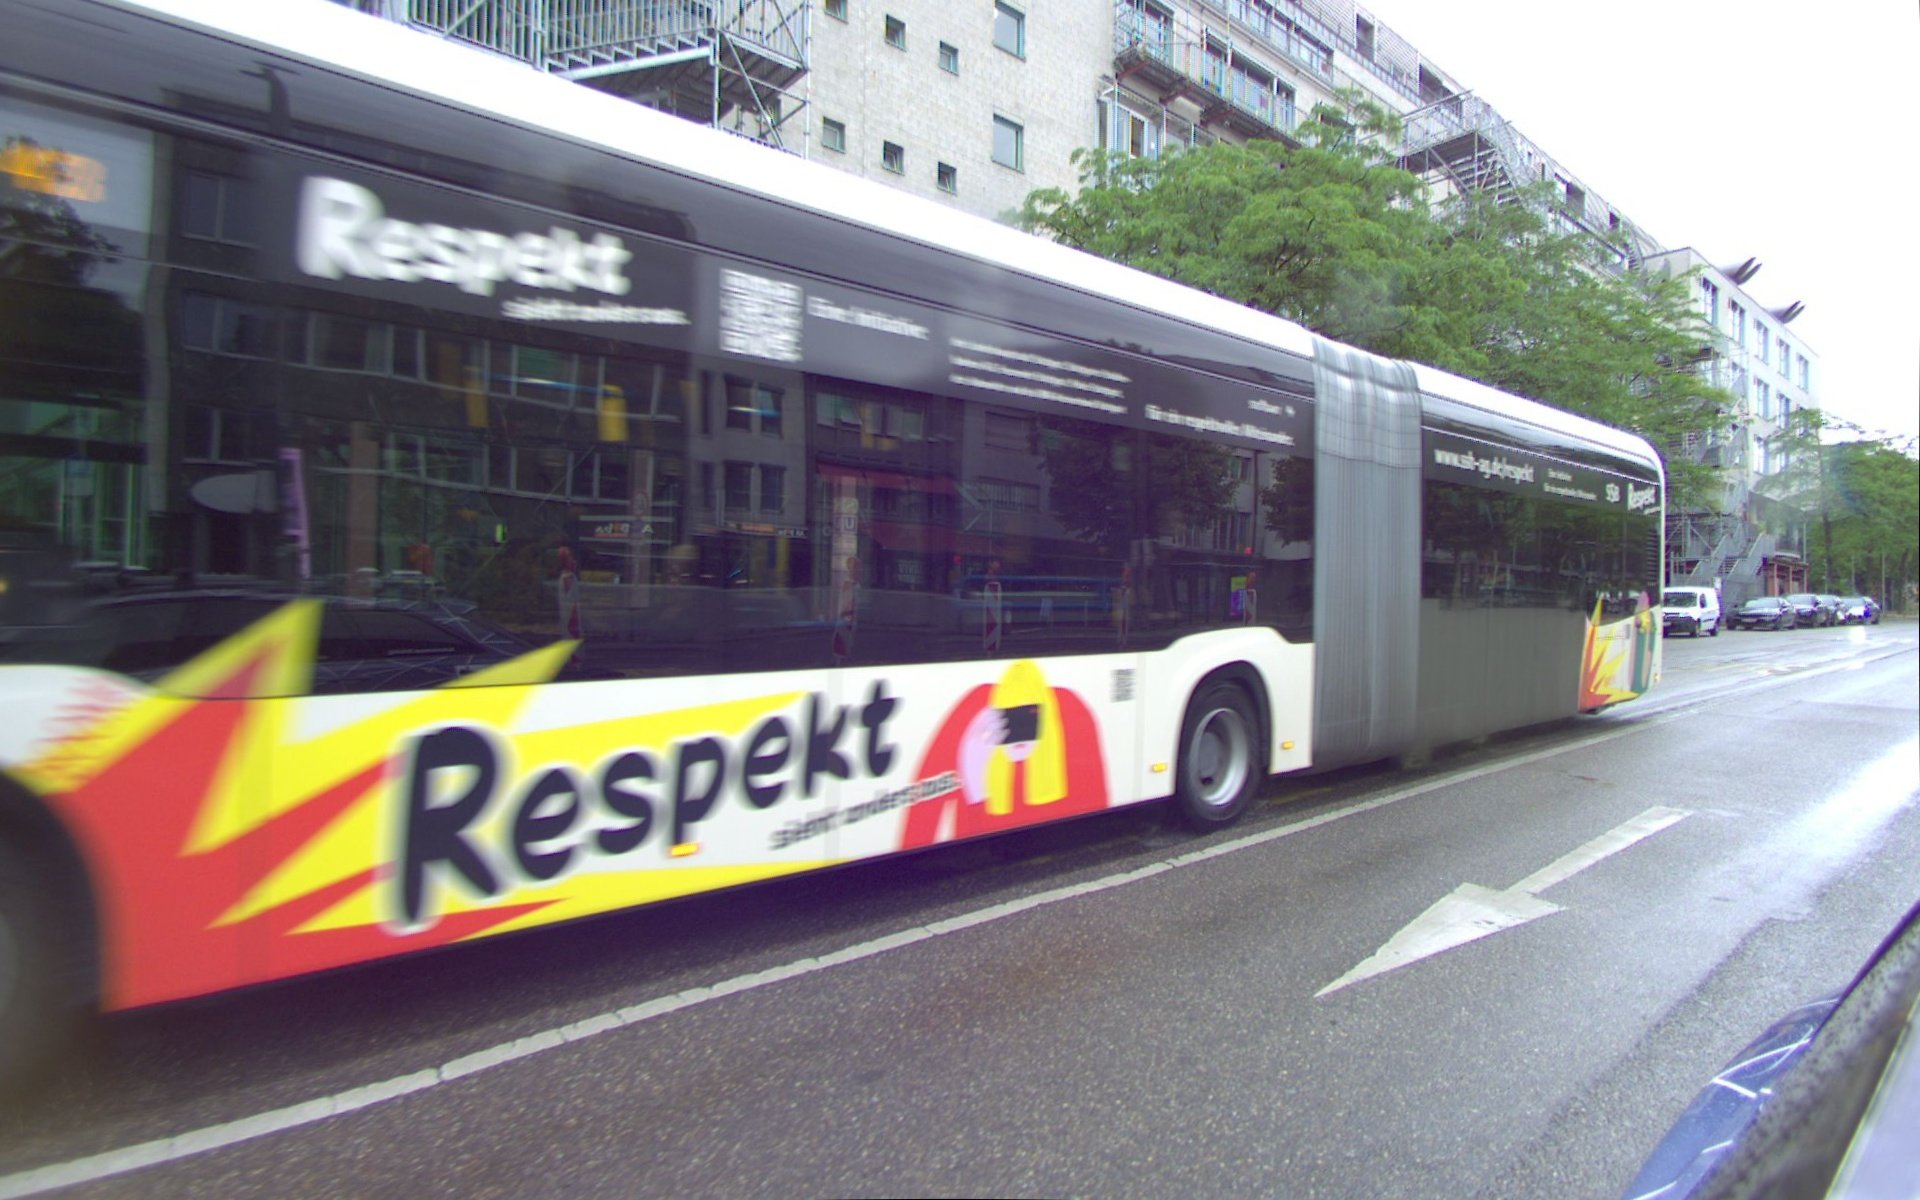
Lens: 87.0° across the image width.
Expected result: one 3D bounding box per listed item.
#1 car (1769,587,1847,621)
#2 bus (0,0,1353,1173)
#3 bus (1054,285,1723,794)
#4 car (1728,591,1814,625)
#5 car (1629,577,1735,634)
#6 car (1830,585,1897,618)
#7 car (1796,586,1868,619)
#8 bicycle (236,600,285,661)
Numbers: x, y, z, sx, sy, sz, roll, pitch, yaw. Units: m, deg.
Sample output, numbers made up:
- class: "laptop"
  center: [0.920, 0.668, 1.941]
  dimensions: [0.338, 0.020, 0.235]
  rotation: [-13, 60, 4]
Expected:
- class: "car"
  center: [40.369, 0.147, 48.153]
  dimensions: [4.733, 1.513, 2.145]
  rotation: [-1, 1, -41]
- class: "bus"
  center: [-1.887, -0.360, 4.857]
  dimensions: [9.587, 3.494, 2.888]
  rotation: [-1, 1, -41]
- class: "bus"
  center: [5.396, -0.489, 11.162]
  dimensions: [9.541, 3.483, 2.888]
  rotation: [-1, 1, -41]
- class: "car"
  center: [35.213, 0.307, 43.904]
  dimensions: [4.733, 1.353, 2.145]
  rotation: [-1, 1, -41]
- class: "car"
  center: [26.184, 0.161, 36.678]
  dimensions: [4.254, 1.930, 2.211]
  rotation: [-1, 1, -41]
- class: "car"
  center: [49.055, 0.063, 54.937]
  dimensions: [4.733, 1.667, 2.145]
  rotation: [-1, 1, -41]
- class: "car"
  center: [44.481, 0.097, 51.613]
  dimensions: [4.733, 1.580, 2.145]
  rotation: [-1, 1, -41]
- class: "bicycle"
  center: [-14.516, 0.604, 20.999]
  dimensions: [0.577, 1.209, 1.611]
  rotation: [-1, 0, -44]
